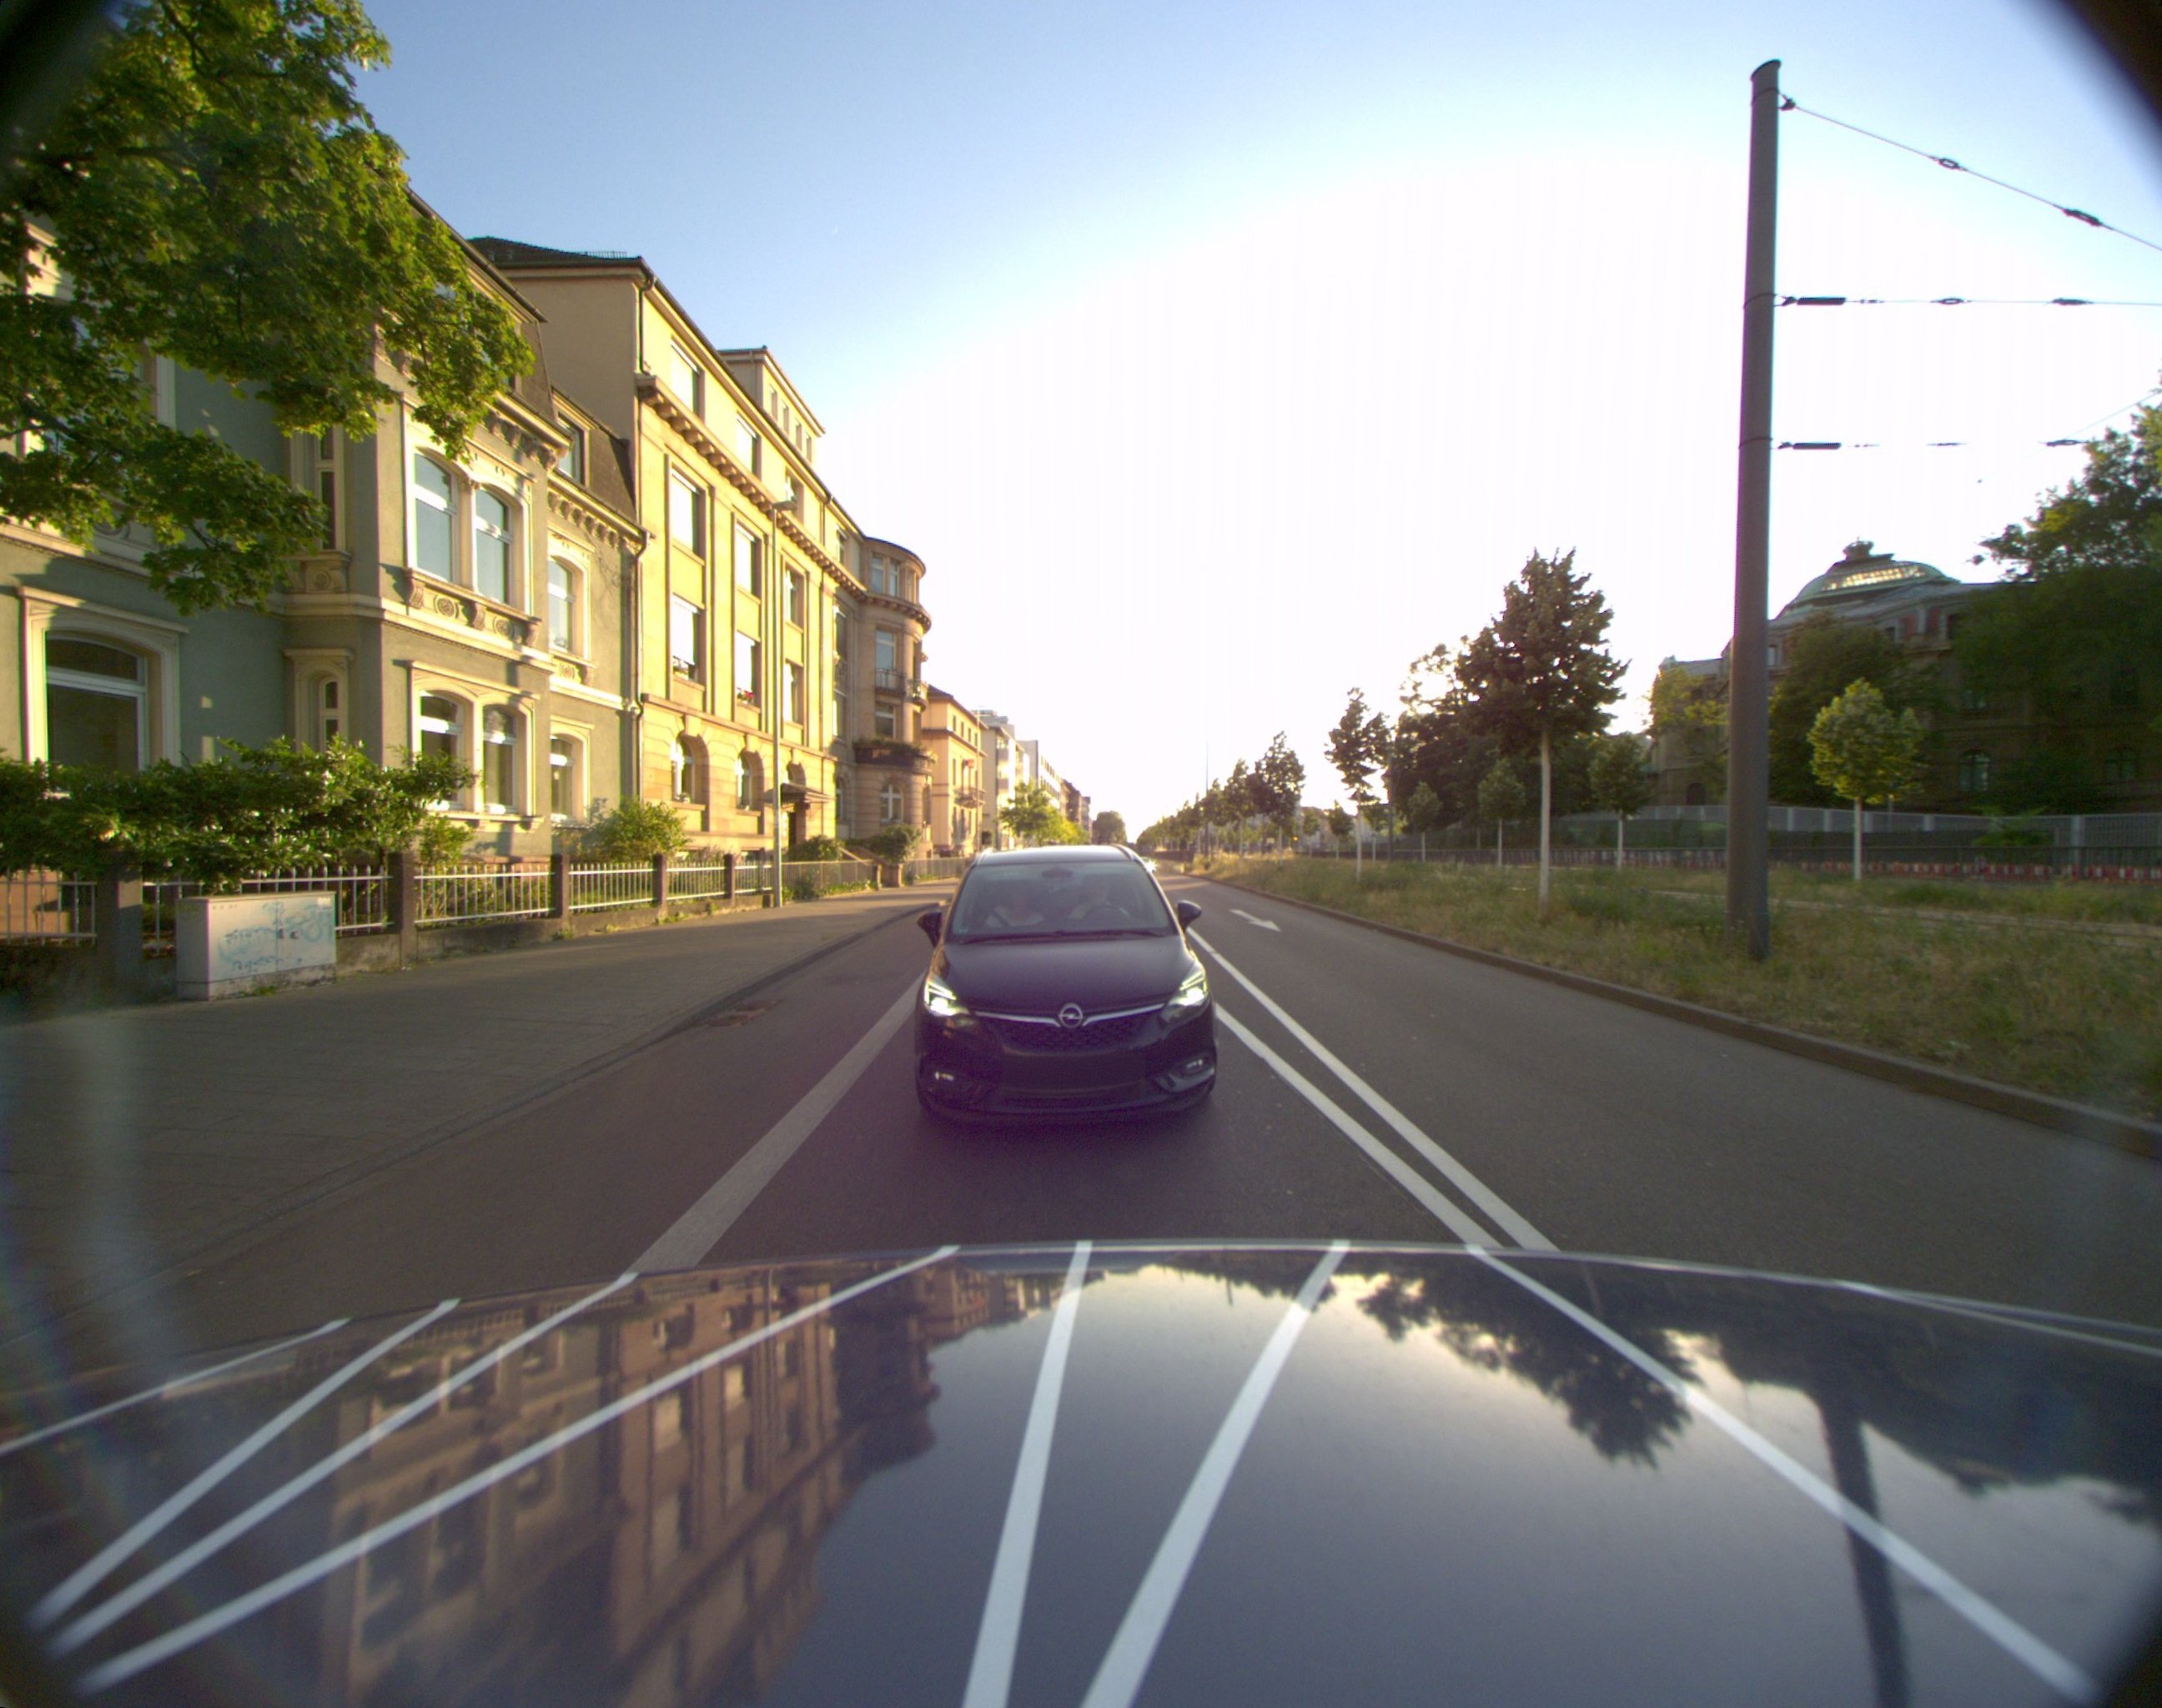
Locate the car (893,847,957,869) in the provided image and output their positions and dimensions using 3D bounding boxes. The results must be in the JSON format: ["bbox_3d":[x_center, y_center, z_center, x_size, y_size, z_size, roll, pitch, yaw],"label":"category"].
[{"bbox_3d":[-11.016,0.250,53.932,4.096,1.472,1.938,-1,1,3],"label":"car"}]

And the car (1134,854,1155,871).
[{"bbox_3d":[5.812,0.786,70.028,1.859,1.425,4.844,-2,-1,3],"label":"car"}]

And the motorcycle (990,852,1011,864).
[{"bbox_3d":[-7.469,0.371,70.261,1.848,1.090,0.576,-1,1,8],"label":"motorcycle"}]

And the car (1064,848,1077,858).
[{"bbox_3d":[-1.607,-0.181,121.622,1.937,1.472,4.100,-1,0,1],"label":"car"}]

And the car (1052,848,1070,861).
[{"bbox_3d":[-2.405,0.043,91.973,1.937,1.472,4.100,-1,0,1],"label":"car"}]

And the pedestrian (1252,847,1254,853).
[{"bbox_3d":[44.193,-1.022,195.294,0.646,1.702,0.838,0,1,10],"label":"pedestrian"}]

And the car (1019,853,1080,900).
[{"bbox_3d":[-1.006,0.734,26.031,1.859,1.425,4.842,-2,-1,-1],"label":"car"}]

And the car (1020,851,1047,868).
[{"bbox_3d":[-3.858,0.439,62.827,1.882,1.394,4.100,-1,0,1],"label":"car"}]

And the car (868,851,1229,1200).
[{"bbox_3d":[-0.284,0.837,6.201,1.771,1.649,4.850,-1,1,-3],"label":"car"}]
